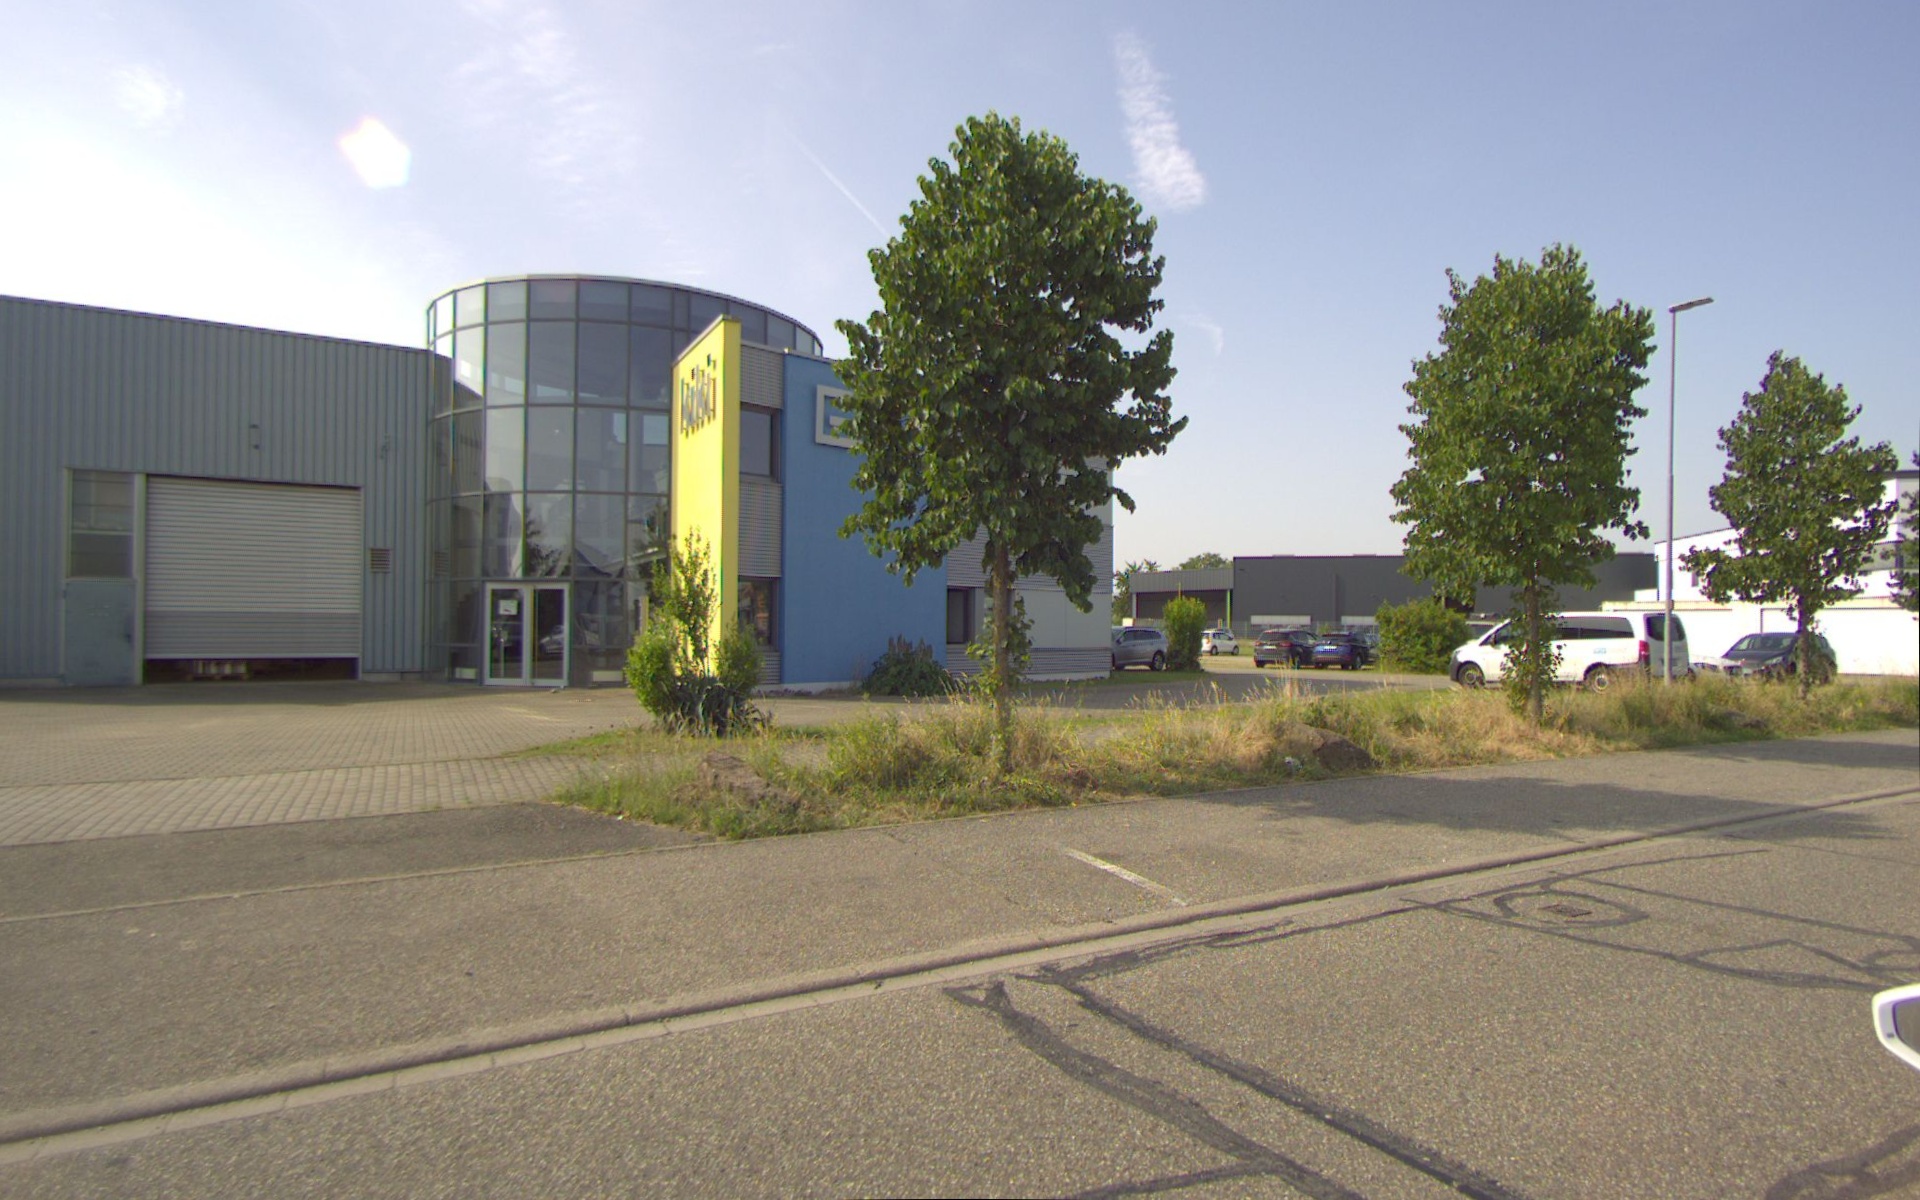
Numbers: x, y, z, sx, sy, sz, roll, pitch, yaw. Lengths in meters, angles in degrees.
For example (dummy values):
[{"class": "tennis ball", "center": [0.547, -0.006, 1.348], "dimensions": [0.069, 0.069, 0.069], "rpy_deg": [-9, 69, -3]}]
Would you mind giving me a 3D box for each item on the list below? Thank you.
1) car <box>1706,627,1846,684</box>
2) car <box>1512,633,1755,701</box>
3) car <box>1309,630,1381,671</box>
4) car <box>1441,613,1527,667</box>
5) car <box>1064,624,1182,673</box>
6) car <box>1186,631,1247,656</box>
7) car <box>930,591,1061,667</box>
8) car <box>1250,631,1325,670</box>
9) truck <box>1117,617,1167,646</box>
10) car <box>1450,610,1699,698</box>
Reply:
[{"class": "car", "center": [25.863, 1.714, 31.801], "dimensions": [4.645, 1.709, 1.984], "rpy_deg": [1, -2, -31]}, {"class": "car", "center": [16.538, 1.582, 24.962], "dimensions": [1.974, 1.450, 4.711], "rpy_deg": [1, -1, -26]}, {"class": "car", "center": [15.339, 1.996, 39.913], "dimensions": [1.819, 1.505, 3.988], "rpy_deg": [0, -2, 34]}, {"class": "car", "center": [26.570, 2.037, 50.821], "dimensions": [5.417, 2.580, 2.033], "rpy_deg": [3, -3, -41]}, {"class": "car", "center": [5.496, 1.615, 33.416], "dimensions": [1.558, 1.500, 4.496], "rpy_deg": [-1, -3, 45]}, {"class": "car", "center": [15.852, 2.688, 61.961], "dimensions": [4.119, 1.500, 1.561], "rpy_deg": [3, -3, -41]}, {"class": "car", "center": [1.475, 1.144, 38.886], "dimensions": [1.687, 2.729, 5.718], "rpy_deg": [0, -2, 43]}, {"class": "car", "center": [13.588, 2.076, 41.554], "dimensions": [1.938, 1.505, 3.988], "rpy_deg": [0, -2, 34]}, {"class": "truck", "center": [16.283, 2.814, 89.787], "dimensions": [3.945, 2.547, 1.988], "rpy_deg": [1, -1, -24]}, {"class": "car", "center": [14.407, 1.178, 23.866], "dimensions": [2.077, 1.860, 4.685], "rpy_deg": [1, -1, -28]}]
